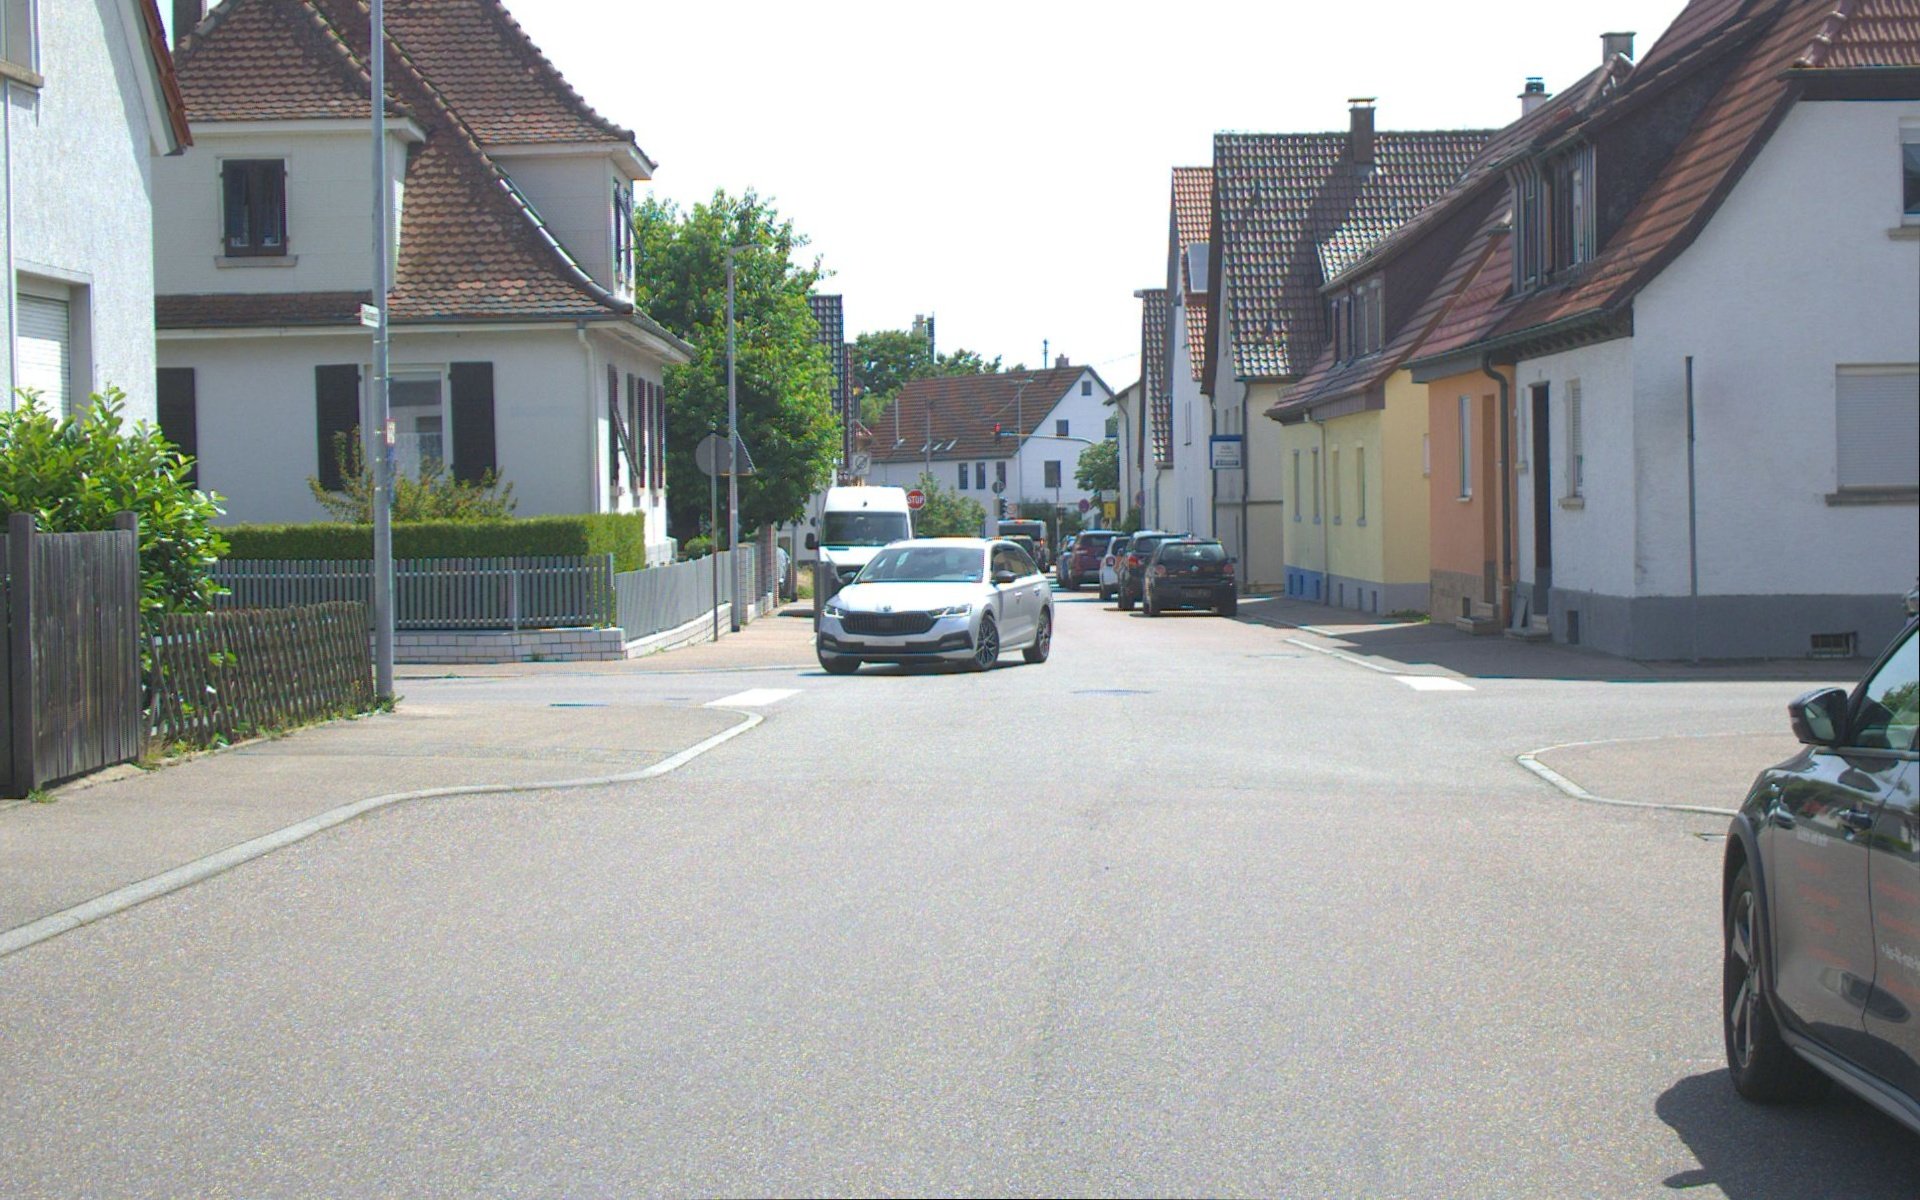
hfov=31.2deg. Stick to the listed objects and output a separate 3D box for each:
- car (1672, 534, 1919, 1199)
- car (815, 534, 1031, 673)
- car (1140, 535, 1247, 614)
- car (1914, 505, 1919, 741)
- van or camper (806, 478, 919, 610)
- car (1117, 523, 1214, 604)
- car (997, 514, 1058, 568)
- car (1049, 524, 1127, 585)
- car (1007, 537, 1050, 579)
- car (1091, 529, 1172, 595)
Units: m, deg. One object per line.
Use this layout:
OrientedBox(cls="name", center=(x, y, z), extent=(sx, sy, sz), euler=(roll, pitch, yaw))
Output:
OrientedBox(cls="car", center=(2.845, 0.632, 7.537), extent=(1.762, 1.522, 4.406), euler=(1, 1, 2))
OrientedBox(cls="car", center=(-0.345, -0.002, 38.167), extent=(1.754, 1.433, 4.587), euler=(0, 1, 8))
OrientedBox(cls="car", center=(4.359, -0.496, 64.546), extent=(1.610, 1.426, 3.754), euler=(0, 1, -2))
OrientedBox(cls="car", center=(8.758, 0.173, 23.147), extent=(4.295, 1.647, 1.847), euler=(0, 1, 8))
OrientedBox(cls="van or camper", center=(-1.931, -1.154, 70.066), extent=(2.184, 2.563, 6.808), euler=(0, 1, -1))
OrientedBox(cls="car", center=(4.172, -0.772, 70.321), extent=(1.728, 1.594, 4.253), euler=(0, 1, 0))
OrientedBox(cls="car", center=(2.834, -2.464, 142.577), extent=(2.129, 2.151, 4.735), euler=(-1, 1, 6))
OrientedBox(cls="car", center=(3.595, -1.299, 97.403), extent=(1.875, 1.694, 4.184), euler=(0, 1, -2))
OrientedBox(cls="car", center=(2.575, -1.585, 128.623), extent=(1.516, 1.561, 3.184), euler=(0, 1, 3))
OrientedBox(cls="car", center=(4.081, -0.925, 82.261), extent=(1.673, 1.553, 3.041), euler=(0, 1, -2))
